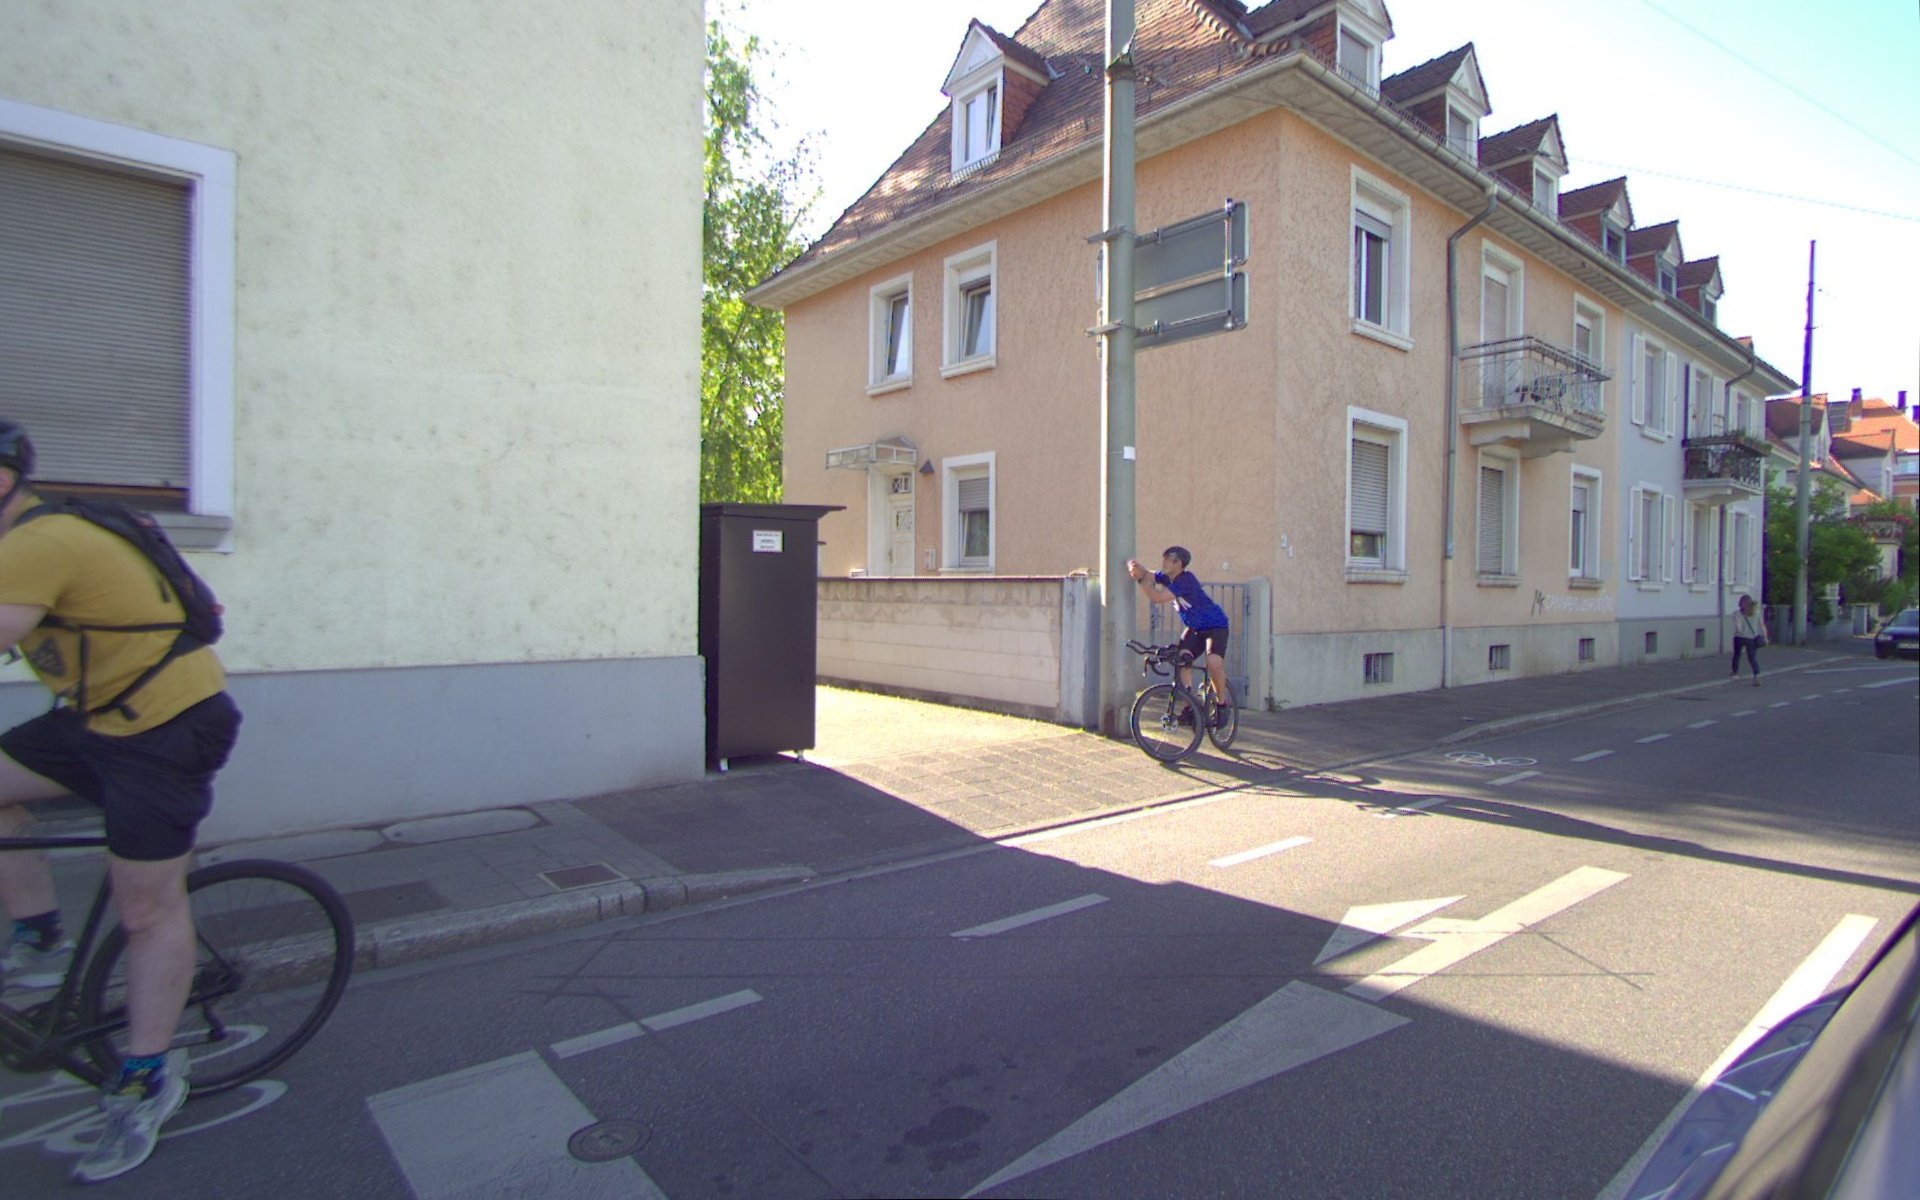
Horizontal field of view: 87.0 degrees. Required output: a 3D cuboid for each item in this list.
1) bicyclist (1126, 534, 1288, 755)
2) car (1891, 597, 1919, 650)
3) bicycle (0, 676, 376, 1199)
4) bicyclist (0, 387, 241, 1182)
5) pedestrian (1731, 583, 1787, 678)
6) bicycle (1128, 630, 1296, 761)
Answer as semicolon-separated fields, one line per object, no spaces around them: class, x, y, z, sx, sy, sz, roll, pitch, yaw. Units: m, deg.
bicyclist;2.287;0.361;9.436;0.831;1.887;1.076;0;4;-40
car;26.701;0.627;27.347;3.796;1.382;1.648;0;1;-38
bicycle;-2.473;0.844;2.537;1.669;1.180;0.572;0;1;-41
bicyclist;-2.472;0.422;2.550;1.018;1.840;0.653;0;1;-41
pedestrian;14.574;0.531;18.458;0.693;1.682;1.081;0;0;44
bicycle;2.320;0.818;9.211;1.669;1.003;0.572;0;4;-41
